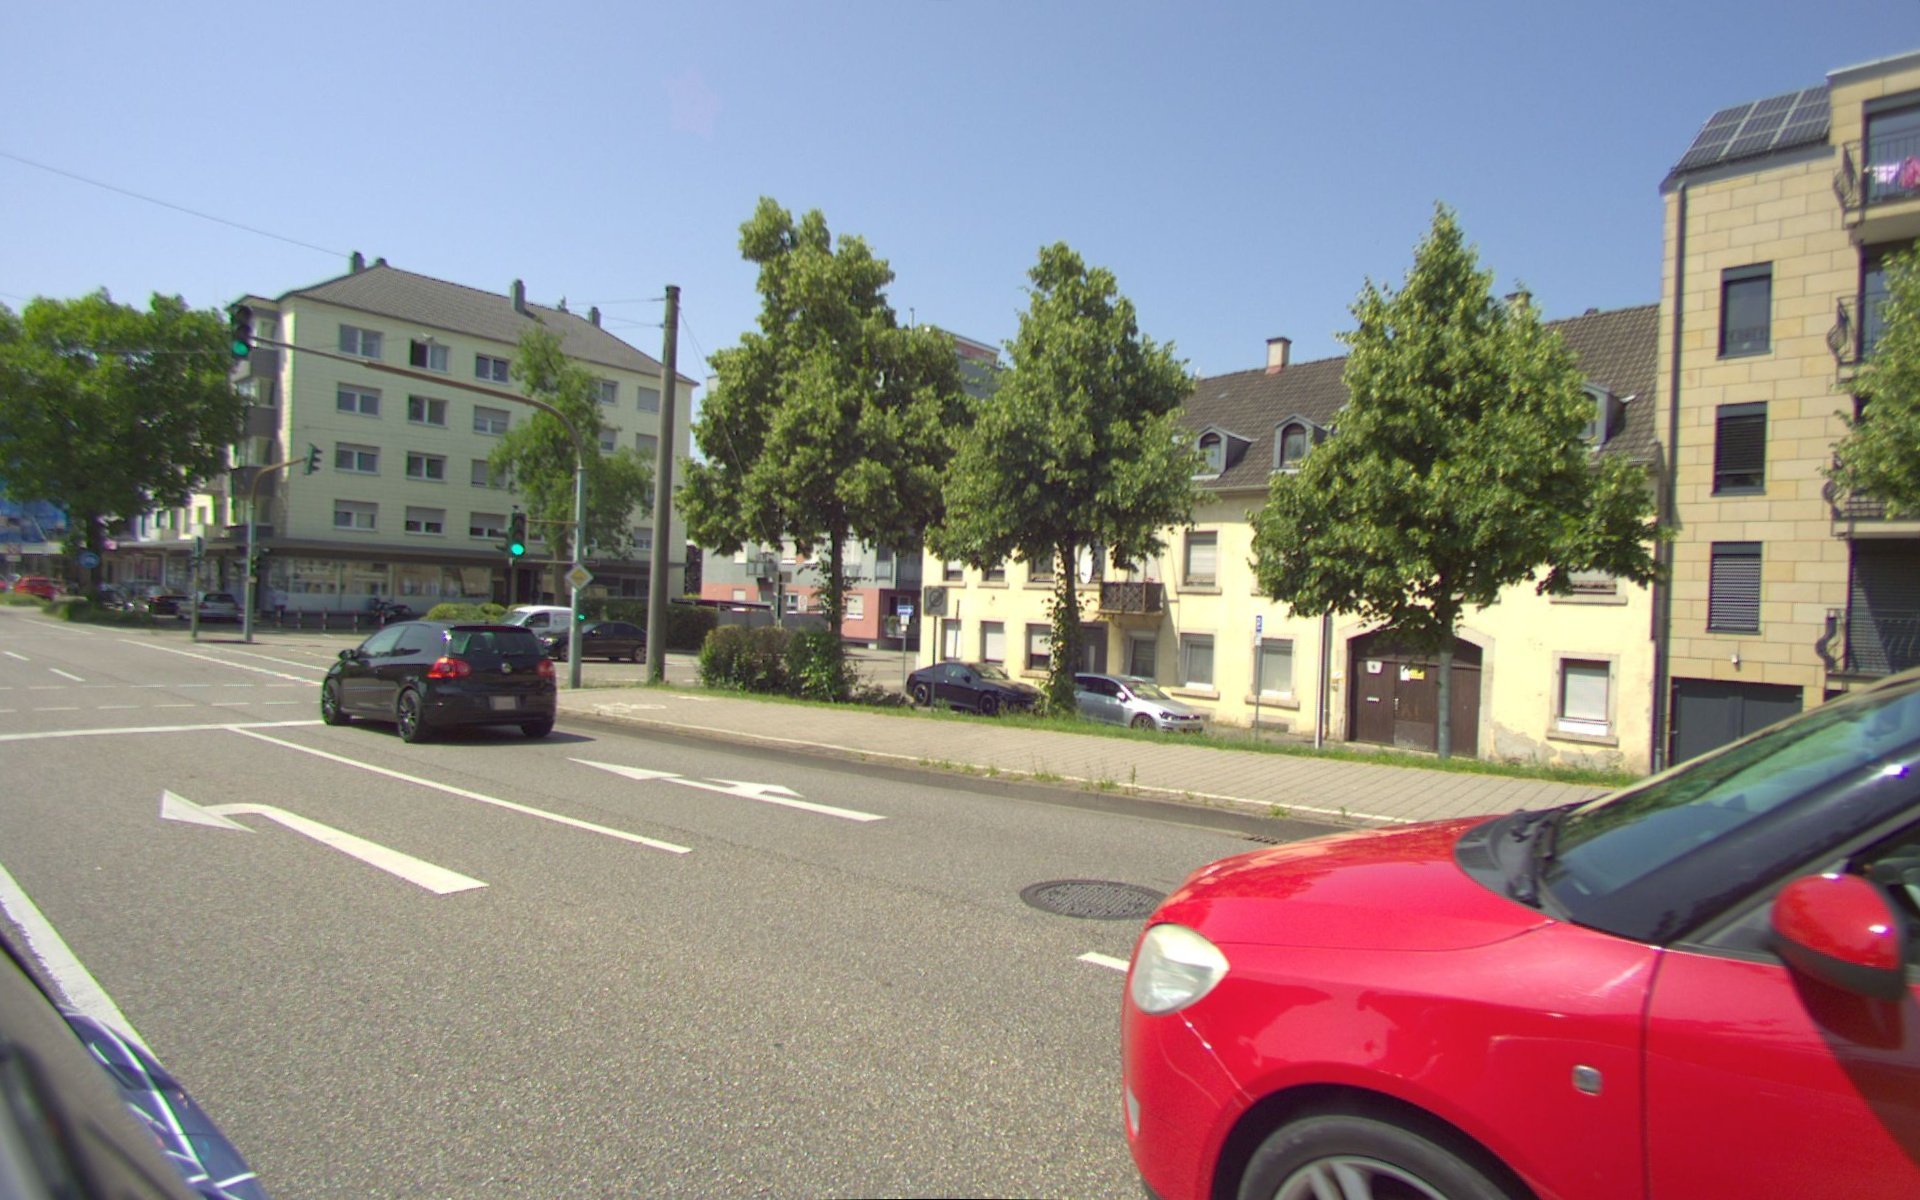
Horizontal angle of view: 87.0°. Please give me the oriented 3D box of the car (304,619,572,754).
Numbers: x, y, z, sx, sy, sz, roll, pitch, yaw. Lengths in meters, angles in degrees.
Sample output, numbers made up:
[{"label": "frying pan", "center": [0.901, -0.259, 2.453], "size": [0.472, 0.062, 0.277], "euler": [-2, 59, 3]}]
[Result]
[{"label": "car", "center": [-6.960, 1.034, 13.328], "size": [4.028, 1.496, 1.696], "euler": [-1, -3, 40]}]

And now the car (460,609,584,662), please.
[{"label": "car", "center": [-16.163, 1.336, 37.477], "size": [1.891, 1.748, 3.651], "euler": [2, -3, 37]}]

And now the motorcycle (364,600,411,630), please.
[{"label": "motorcycle", "center": [-28.714, 0.763, 50.741], "size": [0.714, 1.431, 1.895], "euler": [4, 2, 40]}]

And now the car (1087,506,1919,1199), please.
[{"label": "car", "center": [2.256, 0.638, 1.423], "size": [3.857, 1.475, 1.630], "euler": [0, -2, 39]}]

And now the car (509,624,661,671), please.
[{"label": "car", "center": [-13.153, 1.716, 35.734], "size": [2.112, 1.411, 4.564], "euler": [2, -3, 36]}]

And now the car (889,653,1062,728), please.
[{"label": "car", "center": [0.334, 2.561, 29.398], "size": [1.793, 1.640, 5.292], "euler": [6, -2, -43]}]

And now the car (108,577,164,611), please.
[{"label": "car", "center": [-45.909, -0.345, 56.354], "size": [3.856, 1.853, 1.622], "euler": [1, 0, 39]}]

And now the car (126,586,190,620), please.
[{"label": "car", "center": [-41.564, 0.141, 52.389], "size": [4.835, 1.580, 1.606], "euler": [2, 0, 40]}]

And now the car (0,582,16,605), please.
[{"label": "car", "center": [-65.556, -0.476, 68.301], "size": [4.326, 1.531, 1.890], "euler": [2, -1, 37]}]

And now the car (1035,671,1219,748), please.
[{"label": "car", "center": [4.093, 2.665, 25.385], "size": [1.755, 1.443, 4.434], "euler": [0, 0, -43]}]

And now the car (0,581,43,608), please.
[{"label": "car", "center": [-57.192, -0.333, 61.524], "size": [3.632, 1.479, 1.618], "euler": [2, -1, 40]}]

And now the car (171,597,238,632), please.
[{"label": "car", "center": [-35.399, 0.654, 47.388], "size": [3.936, 1.469, 1.567], "euler": [2, 0, 39]}]

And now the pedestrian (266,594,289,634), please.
[{"label": "pedestrian", "center": [-31.238, 0.655, 46.293], "size": [0.742, 1.773, 0.621], "euler": [3, 0, 39]}]
